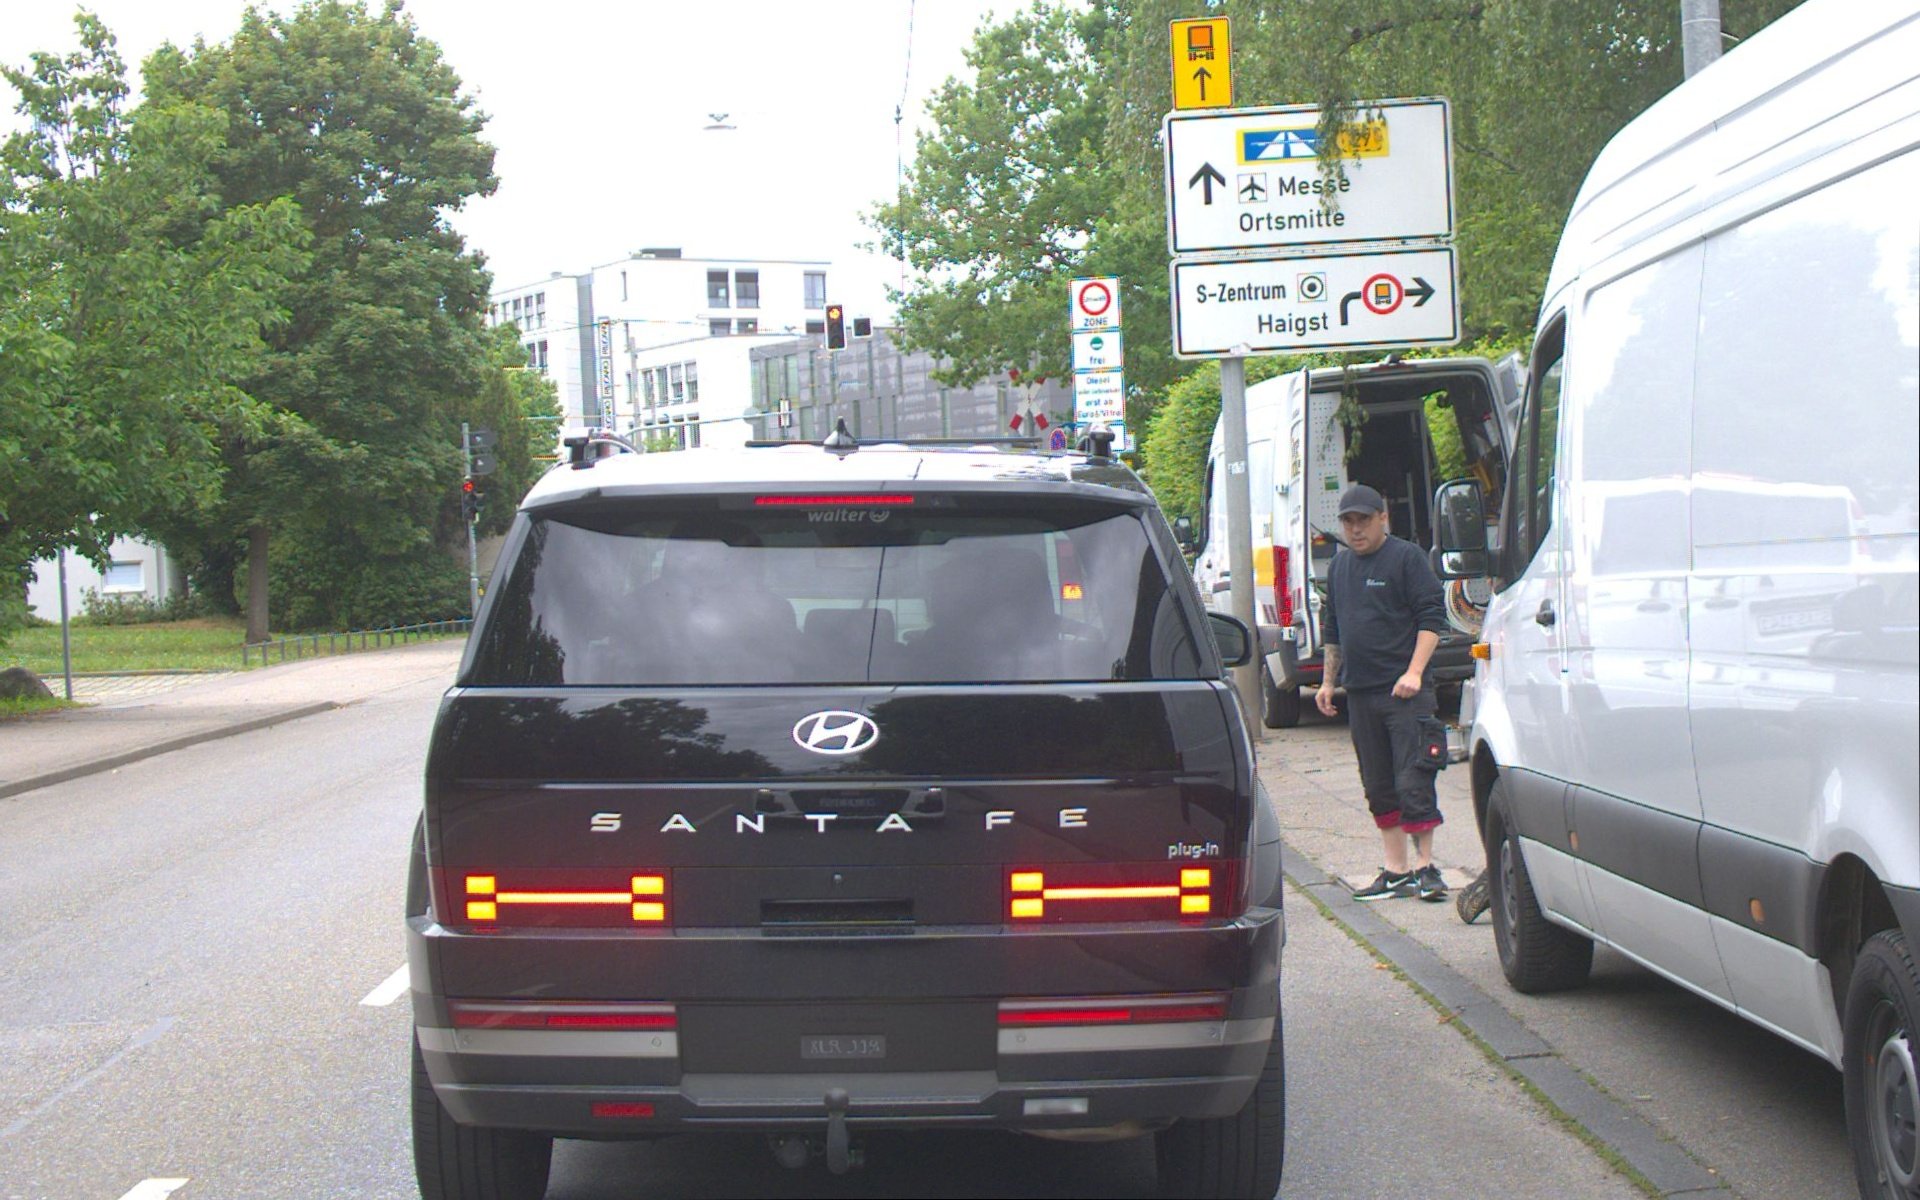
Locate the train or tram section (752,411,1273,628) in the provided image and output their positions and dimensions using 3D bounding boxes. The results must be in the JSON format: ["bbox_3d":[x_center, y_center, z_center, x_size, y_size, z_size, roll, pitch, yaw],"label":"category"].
[{"bbox_3d":[0.723,-1.689,83.239,3.193,4.507,18.683,0,-1,-31],"label":"train or tram section"}]

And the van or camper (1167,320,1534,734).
[{"bbox_3d":[2.916,-0.558,26.891,1.963,2.787,5.287,-4,1,-1],"label":"van or camper"}]

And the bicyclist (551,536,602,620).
[{"bbox_3d":[-7.622,-0.433,68.364,0.856,1.653,0.677,-1,-1,8],"label":"bicyclist"}]

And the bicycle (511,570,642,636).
[{"bbox_3d":[-7.621,0.060,68.366,2.493,1.275,0.677,-1,-1,8],"label":"bicycle"}]

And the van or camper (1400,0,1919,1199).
[{"bbox_3d":[2.588,-0.069,8.065,1.963,2.619,6.359,-4,1,-1],"label":"van or camper"}]

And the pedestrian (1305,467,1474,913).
[{"bbox_3d":[1.724,0.356,13.744,0.604,1.737,0.619,-1,-1,11],"label":"pedestrian"}]

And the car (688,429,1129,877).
[{"bbox_3d":[-0.281,0.204,17.542,1.963,1.994,4.000,-1,1,-1],"label":"car"}]

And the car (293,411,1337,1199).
[{"bbox_3d":[-0.319,0.474,8.548,1.963,1.705,4.000,-1,1,-1],"label":"car"}]
